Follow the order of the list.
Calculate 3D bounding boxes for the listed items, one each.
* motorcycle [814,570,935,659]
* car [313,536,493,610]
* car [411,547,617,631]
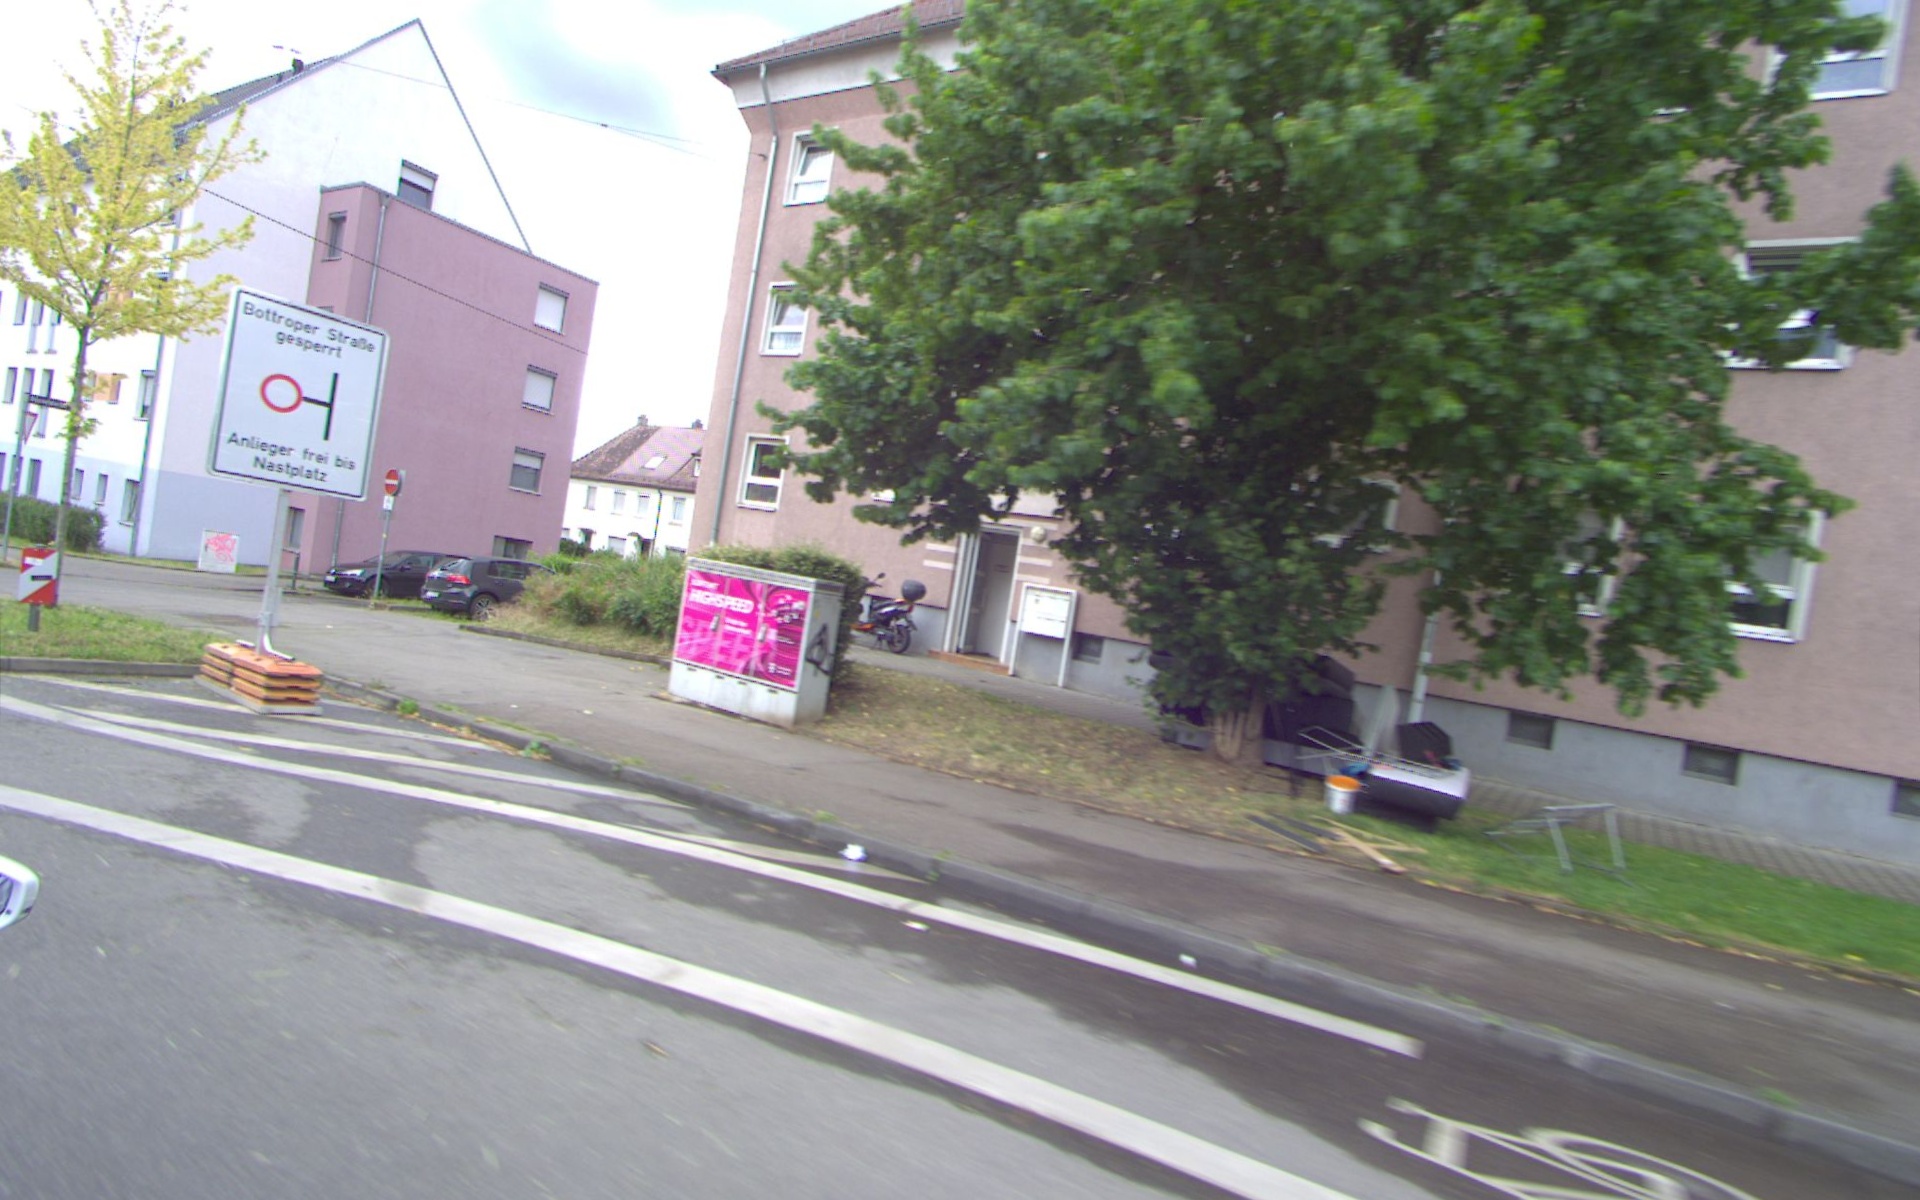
[{"bbox_3d":[-1.448,0.233,16.909,1.935,1.242,0.591,7,-1,33],"label":"motorcycle"},{"bbox_3d":[-15.706,-0.719,28.551,1.732,1.473,3.992,7,-2,34],"label":"car"},{"bbox_3d":[-10.161,-0.208,23.197,1.661,1.470,3.992,5,-2,33],"label":"car"}]
